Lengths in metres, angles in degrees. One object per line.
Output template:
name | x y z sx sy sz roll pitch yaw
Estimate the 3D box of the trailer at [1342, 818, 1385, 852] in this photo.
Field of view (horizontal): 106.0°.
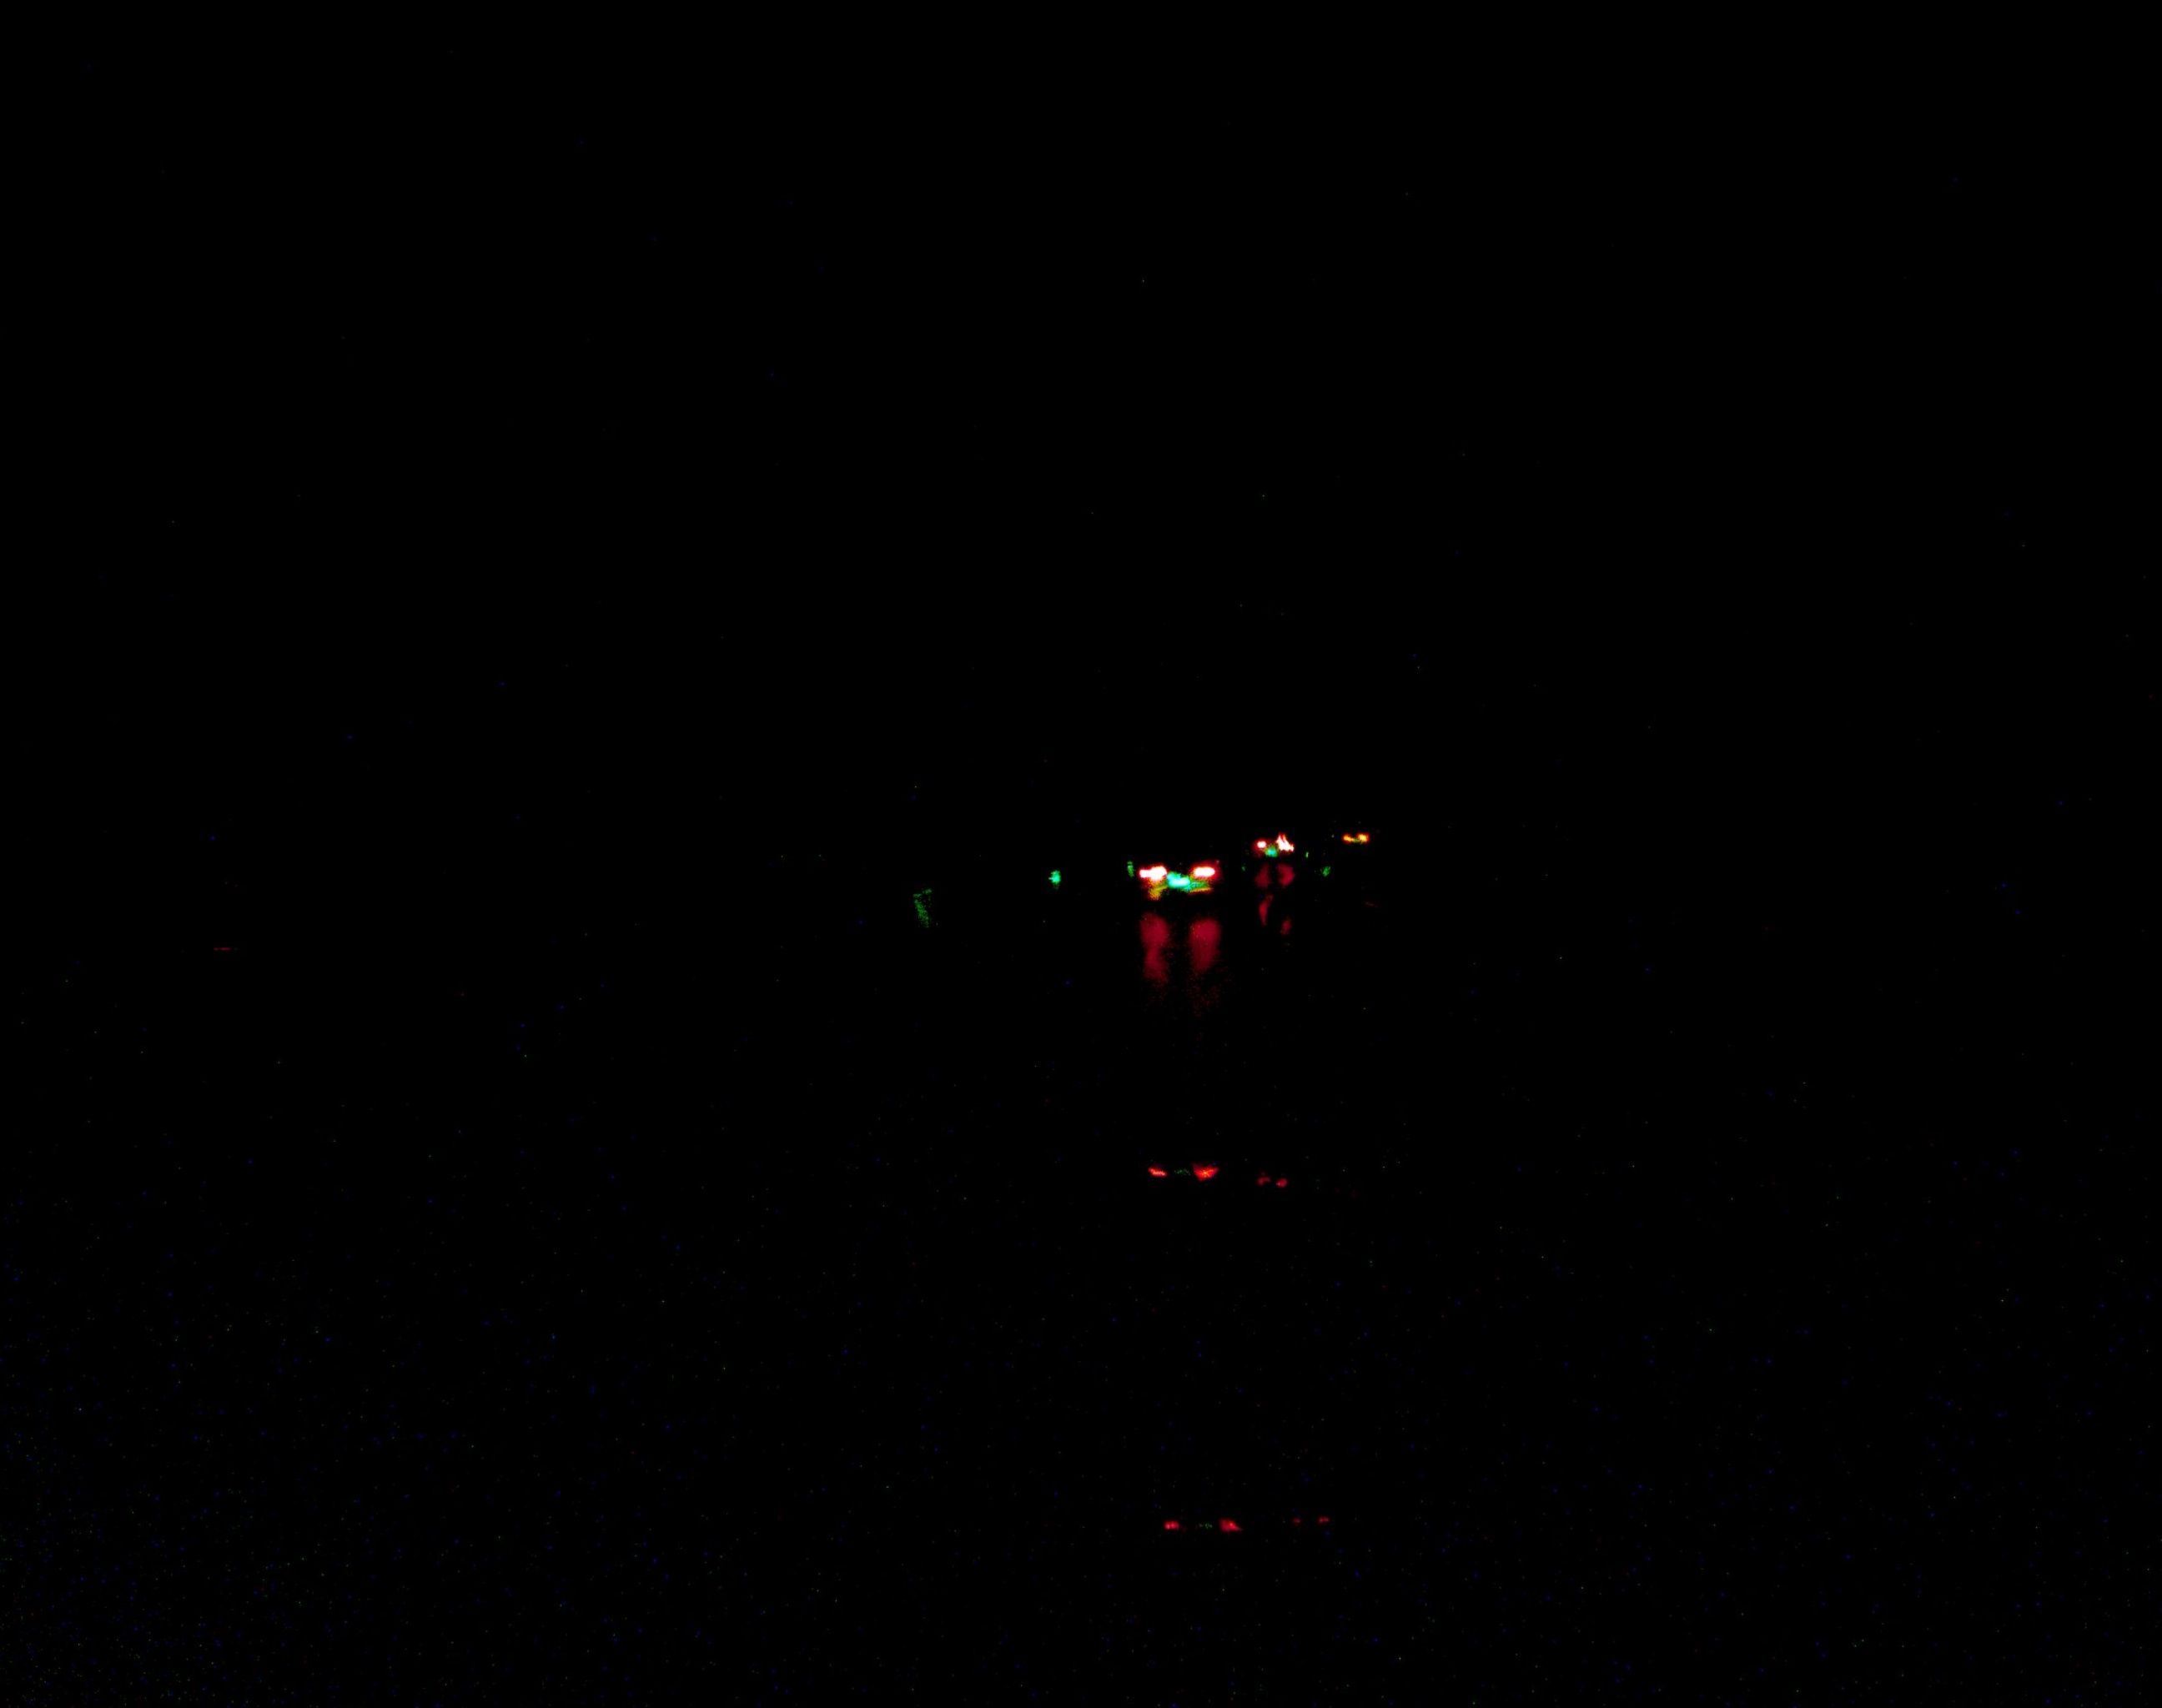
trailer | 21.257 -1.328 60.968 2.059 2.014 10.706 -5 -2 24
